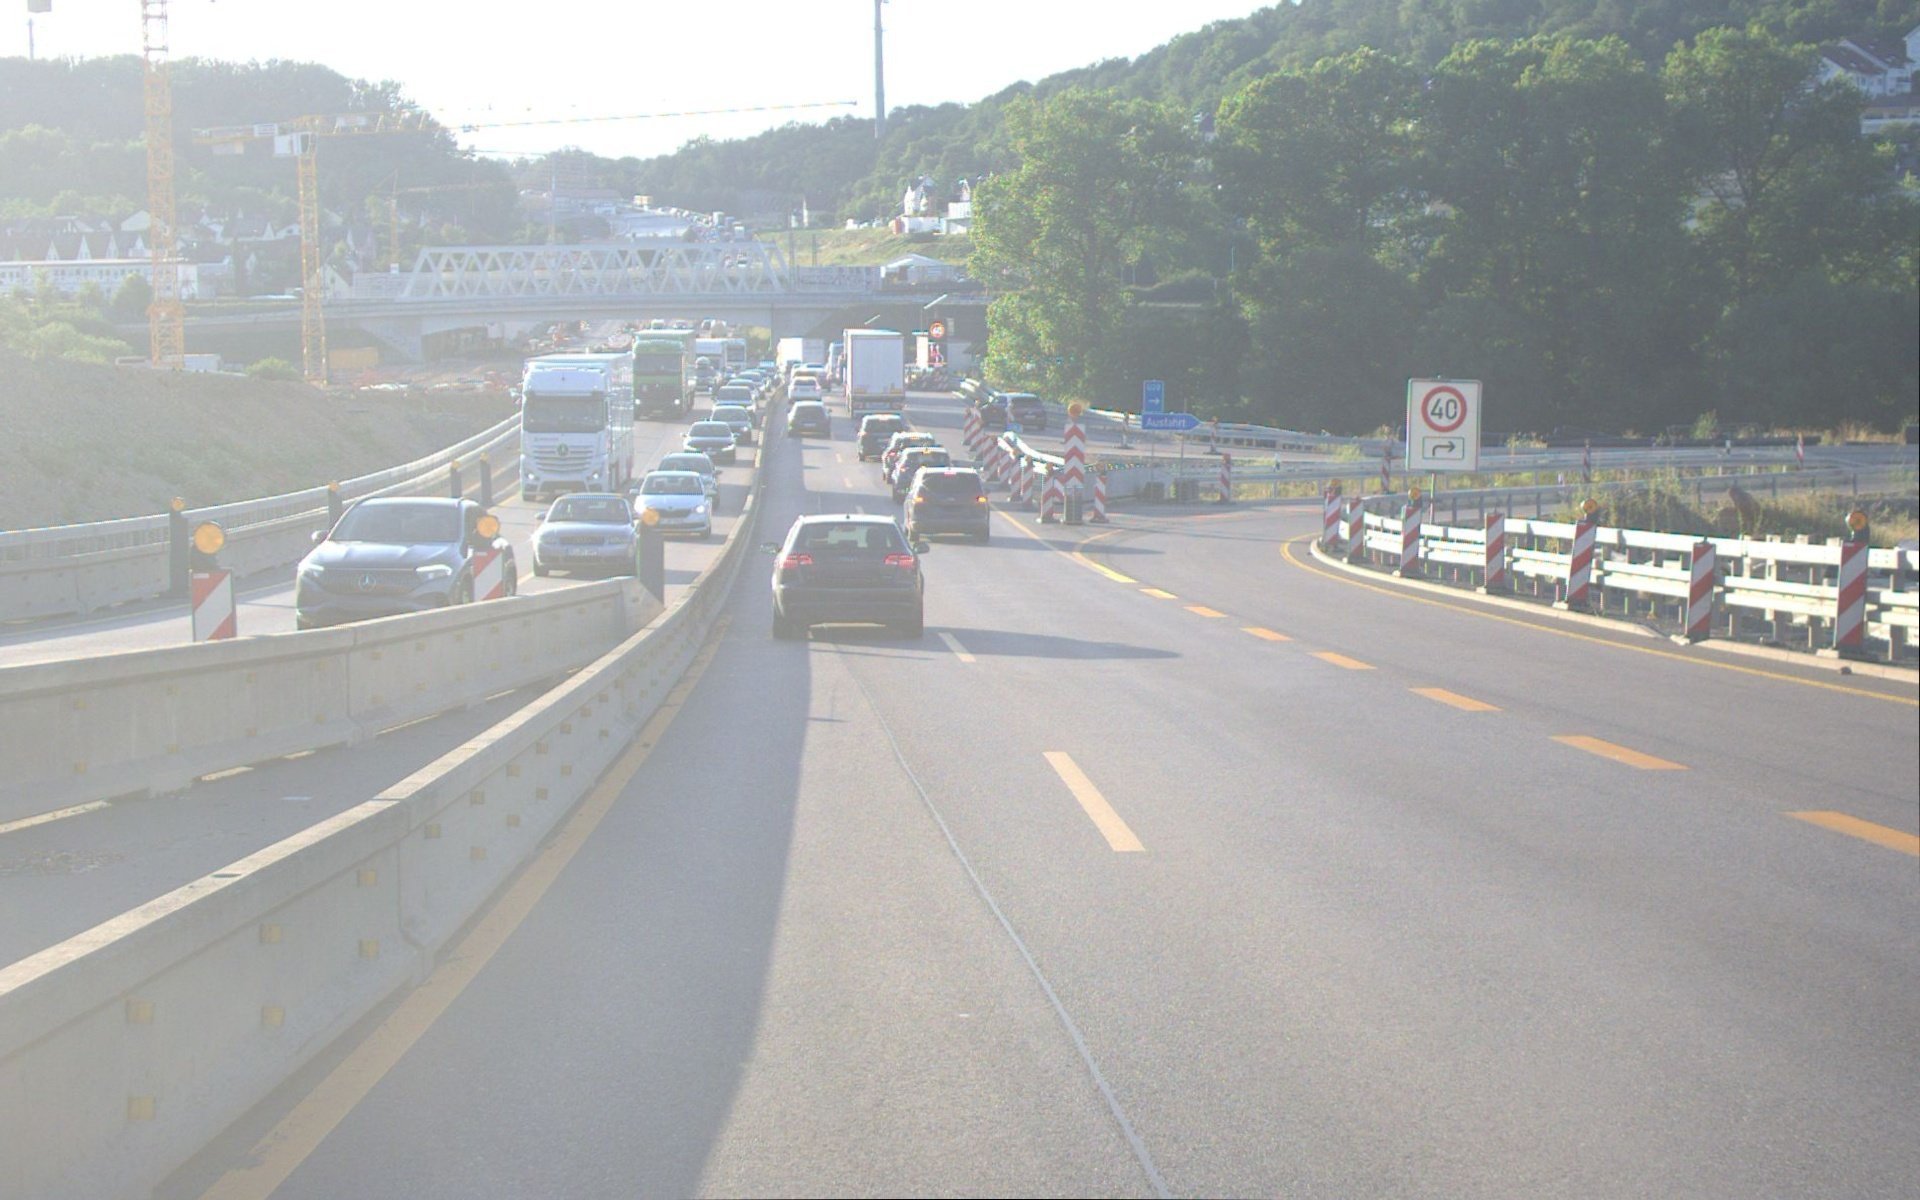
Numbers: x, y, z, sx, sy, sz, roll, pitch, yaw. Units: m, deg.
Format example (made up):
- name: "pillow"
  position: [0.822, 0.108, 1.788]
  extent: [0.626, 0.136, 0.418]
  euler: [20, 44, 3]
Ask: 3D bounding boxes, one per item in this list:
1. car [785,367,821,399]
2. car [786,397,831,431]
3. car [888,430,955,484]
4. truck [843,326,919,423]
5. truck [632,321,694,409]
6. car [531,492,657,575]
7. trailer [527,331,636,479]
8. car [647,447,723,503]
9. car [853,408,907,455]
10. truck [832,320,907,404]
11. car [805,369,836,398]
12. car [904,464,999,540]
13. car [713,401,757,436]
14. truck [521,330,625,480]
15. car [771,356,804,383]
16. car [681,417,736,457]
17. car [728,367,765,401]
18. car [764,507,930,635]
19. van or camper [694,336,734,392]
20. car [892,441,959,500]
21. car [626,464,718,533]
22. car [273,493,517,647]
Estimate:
- name: "car"
  position: [-8.504, -11.769, 186.414]
  extent: [1.923, 1.546, 4.000]
  euler: [0, 1, -2]
- name: "car"
  position: [-6.398, -7.903, 145.875]
  extent: [1.863, 1.415, 4.001]
  euler: [0, 3, -2]
- name: "car"
  position: [-1.244, -4.583, 110.047]
  extent: [1.875, 1.593, 4.967]
  euler: [0, 4, -4]
- name: "truck"
  position: [-3.947, -11.181, 168.559]
  extent: [3.385, 4.482, 15.272]
  euler: [1, 5, -2]
- name: "truck"
  position: [-14.122, -11.196, 163.758]
  extent: [2.769, 4.066, 5.778]
  euler: [1, 4, -4]
- name: "car"
  position: [-6.343, -1.188, 59.995]
  extent: [1.788, 1.353, 4.636]
  euler: [1, 2, -1]
- name: "trailer"
  position: [-11.597, -5.941, 106.216]
  extent: [2.530, 4.198, 13.937]
  euler: [1, 2, -3]
- name: "car"
  position: [-7.509, -3.433, 94.209]
  extent: [1.850, 1.478, 4.512]
  euler: [-1, 3, -2]
- name: "car"
  position: [-2.969, -6.229, 126.599]
  extent: [1.814, 1.626, 4.413]
  euler: [0, 4, -3]
- name: "truck"
  position: [-5.305, -13.794, 197.995]
  extent: [3.890, 4.481, 15.273]
  euler: [1, 5, -3]
- name: "car"
  position: [-9.046, -14.089, 223.494]
  extent: [1.923, 1.547, 4.000]
  euler: [2, 0, -2]
- name: "car"
  position: [-0.213, -2.183, 76.705]
  extent: [1.812, 1.609, 4.527]
  euler: [1, 1, -4]
- name: "car"
  position: [-9.162, -7.417, 140.203]
  extent: [1.715, 1.404, 4.329]
  euler: [0, 3, -3]
- name: "truck"
  position: [-11.253, -5.649, 100.270]
  extent: [2.552, 4.206, 6.051]
  euler: [1, 2, -3]
- name: "car"
  position: [-10.465, -13.980, 208.958]
  extent: [1.923, 1.546, 4.001]
  euler: [0, 3, -2]
- name: "car"
  position: [-9.116, -5.936, 124.846]
  extent: [1.836, 1.404, 4.496]
  euler: [0, 3, -3]
- name: "car"
  position: [-12.144, -12.296, 195.977]
  extent: [1.993, 1.787, 4.001]
  euler: [1, 2, -2]
- name: "car"
  position: [-1.381, -0.379, 40.461]
  extent: [1.769, 1.385, 4.001]
  euler: [0, 2, -4]
- name: "van or camper"
  position: [-16.065, -15.459, 224.716]
  extent: [2.457, 3.485, 7.417]
  euler: [0, 5, -3]
- name: "car"
  position: [-0.997, -3.635, 97.196]
  extent: [1.774, 1.580, 4.135]
  euler: [1, 1, -2]
- name: "car"
  position: [-6.476, -2.287, 77.572]
  extent: [1.788, 1.483, 4.220]
  euler: [1, 2, -1]
- name: "car"
  position: [-6.364, -0.395, 39.249]
  extent: [1.789, 1.614, 4.874]
  euler: [1, 2, 2]
